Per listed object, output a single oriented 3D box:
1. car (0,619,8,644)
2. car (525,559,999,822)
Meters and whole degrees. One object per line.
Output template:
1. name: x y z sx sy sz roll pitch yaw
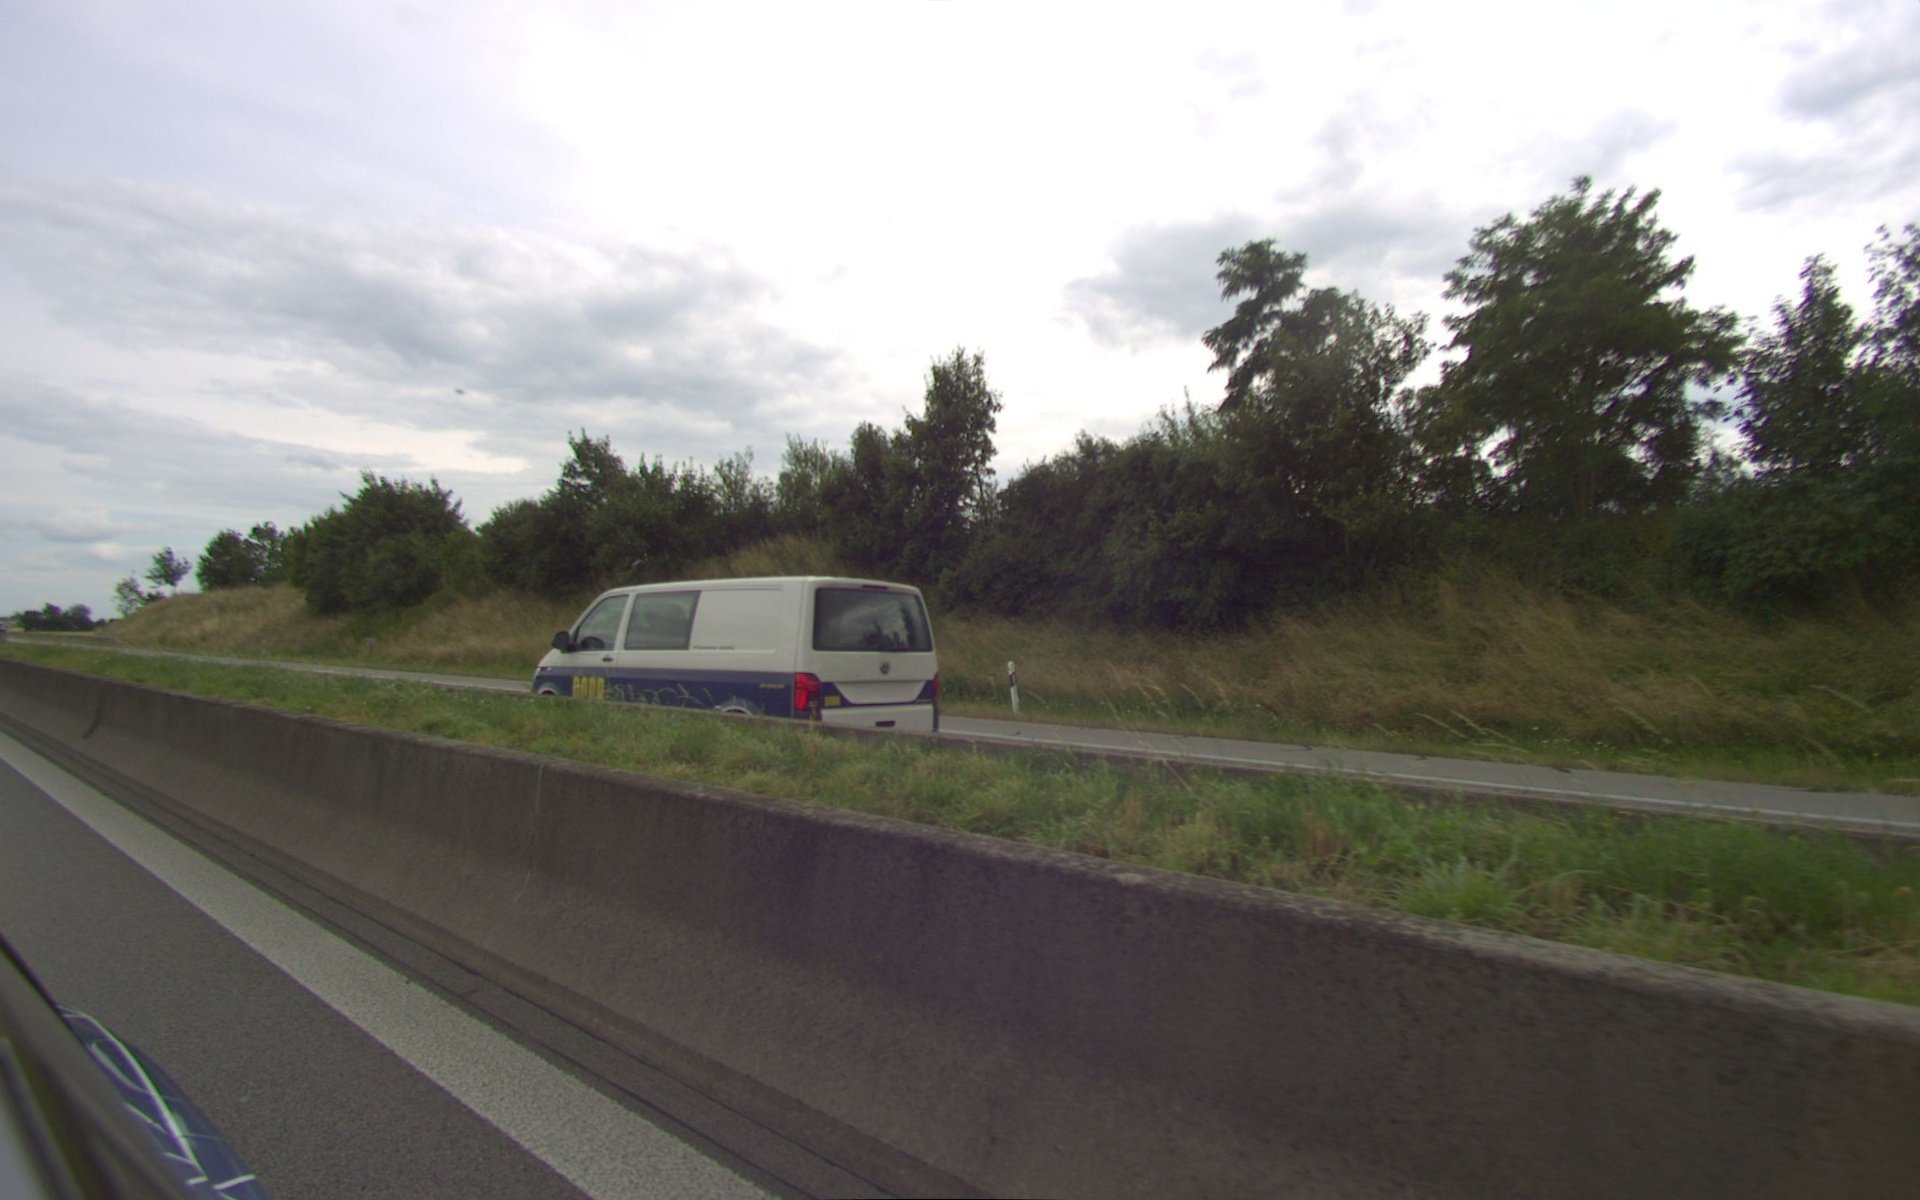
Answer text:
1. car: -66.393 2.125 68.877 4.595 1.707 1.899 -1 -3 41
2. car: -2.225 0.753 10.228 5.127 2.029 1.959 -2 -1 41
